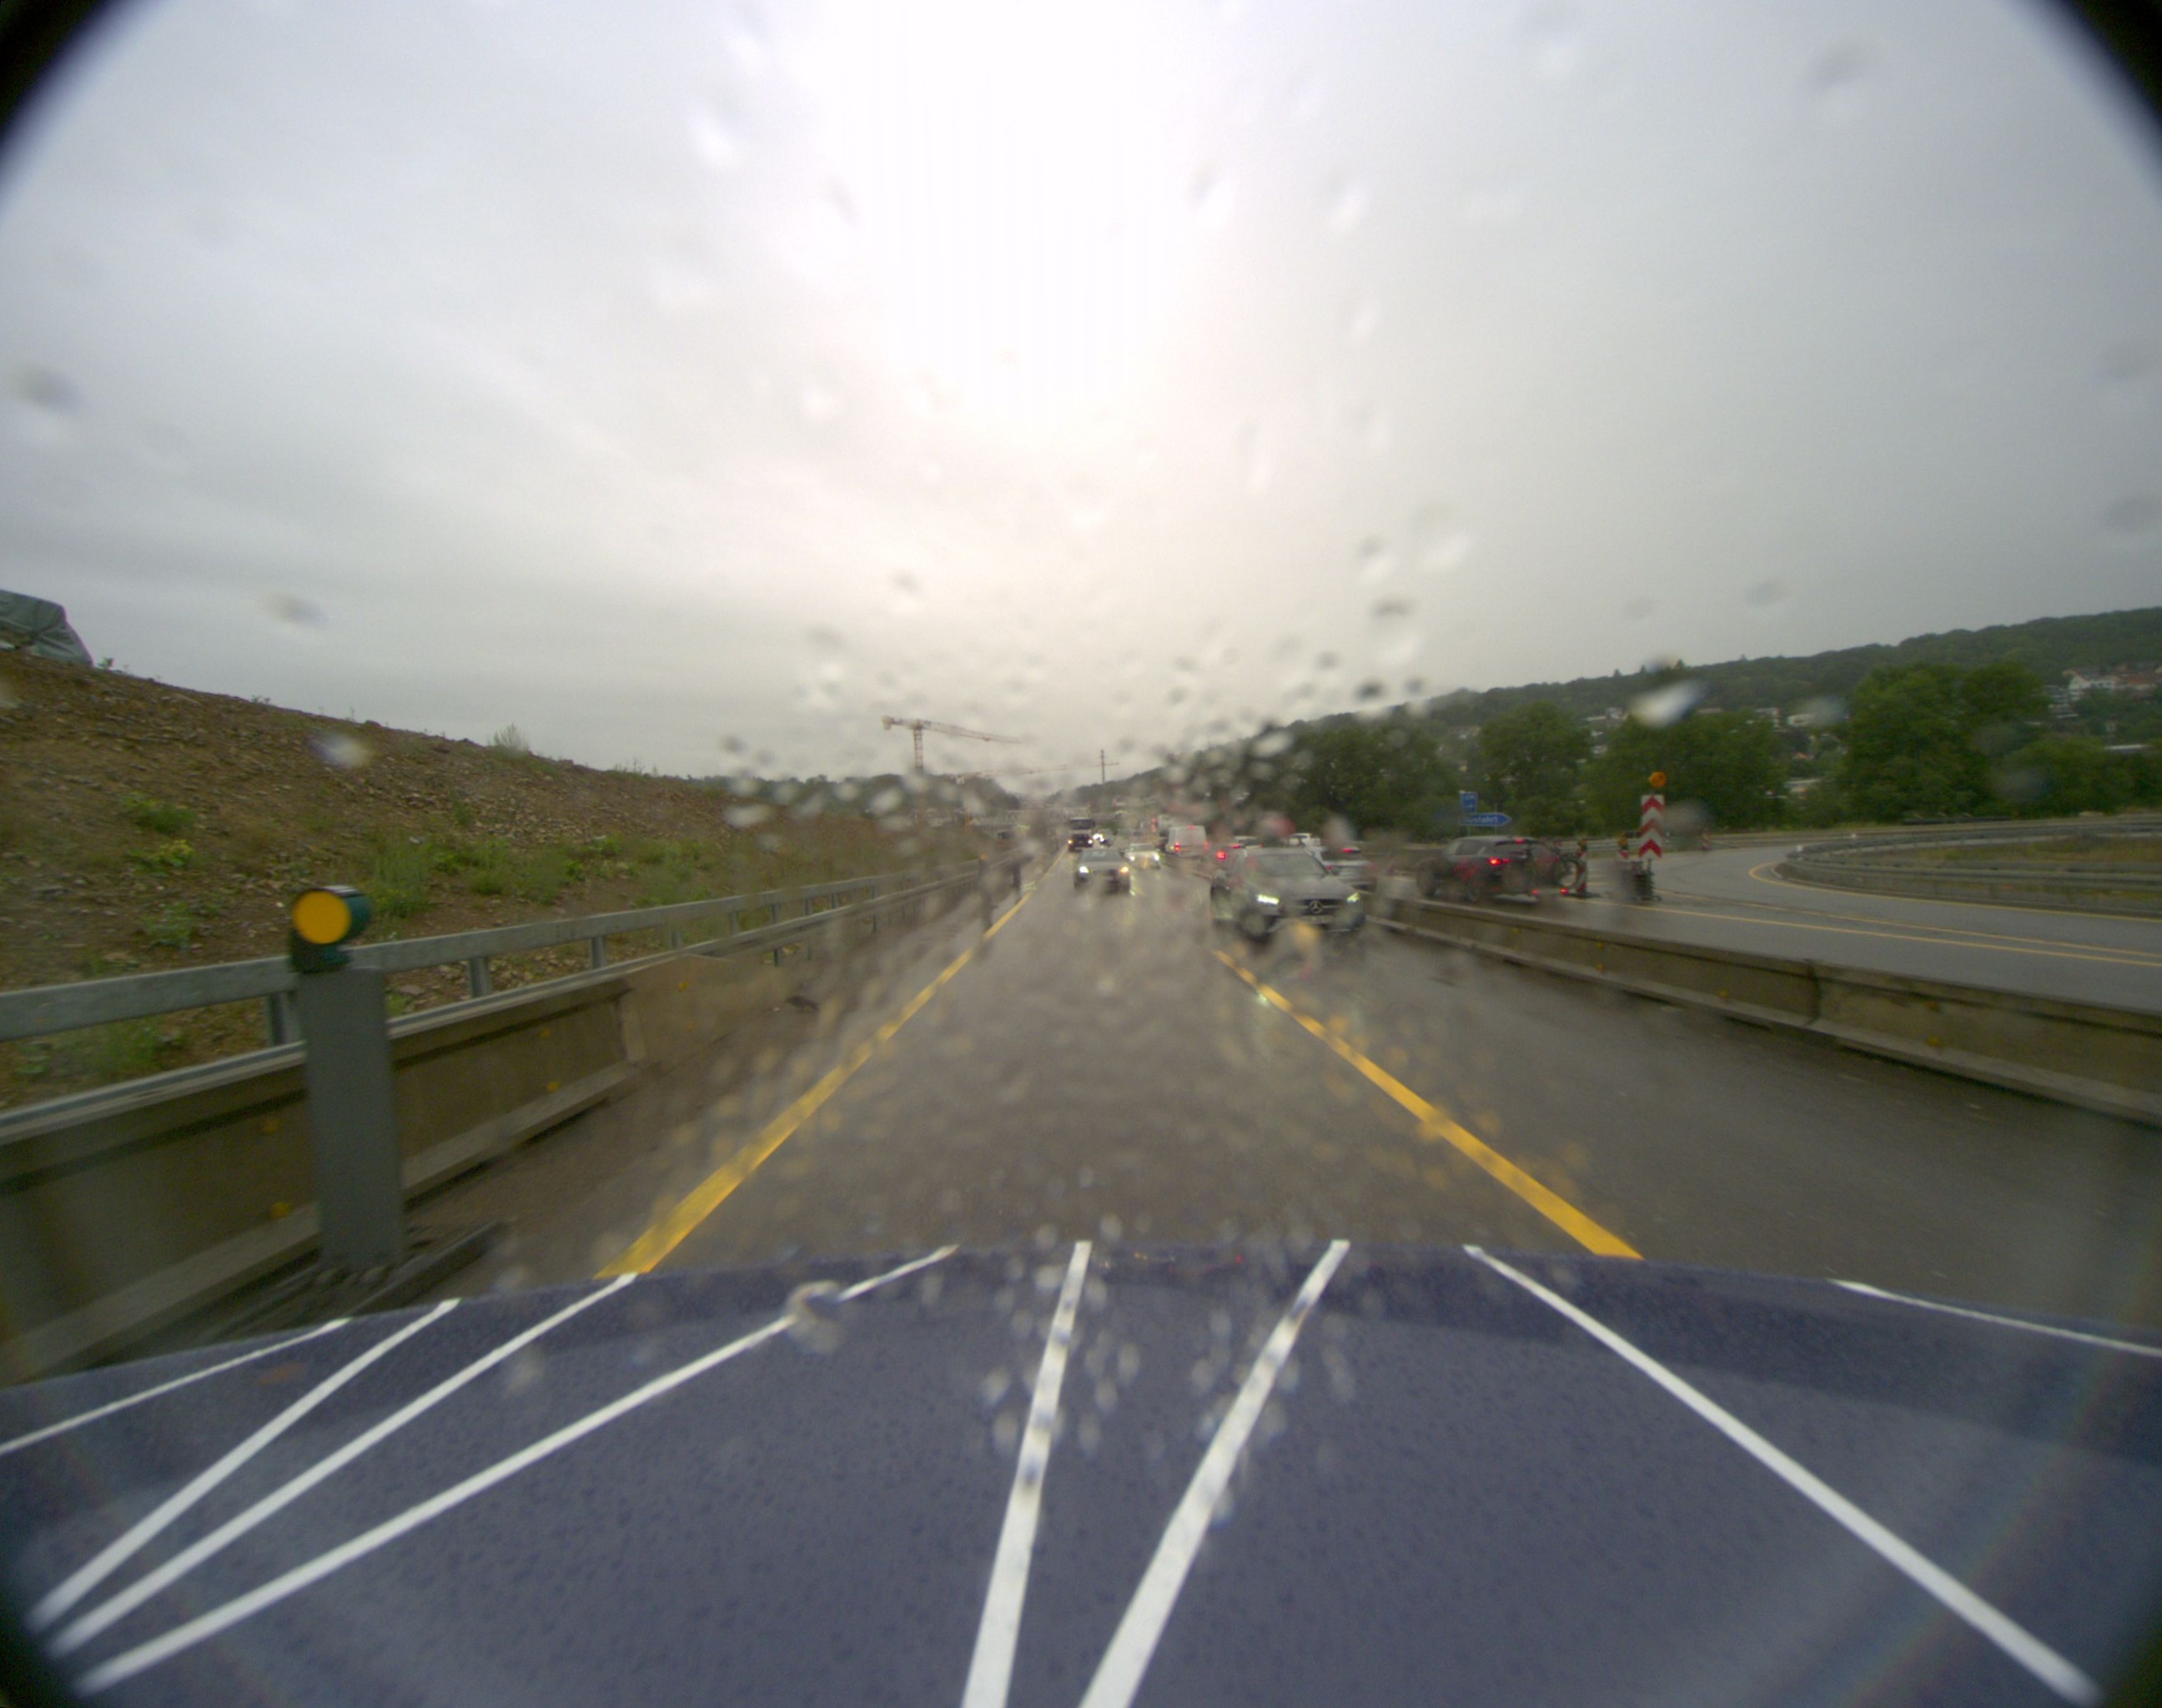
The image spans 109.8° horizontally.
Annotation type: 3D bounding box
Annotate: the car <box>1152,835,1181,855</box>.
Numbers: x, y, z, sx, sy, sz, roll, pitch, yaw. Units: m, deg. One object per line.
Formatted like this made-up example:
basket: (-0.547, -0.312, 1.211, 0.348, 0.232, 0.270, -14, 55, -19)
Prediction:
car: (7.065, -0.772, 63.166, 1.777, 1.496, 4.677, -1, 2, 0)

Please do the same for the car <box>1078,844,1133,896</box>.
car: (0.835, 0.501, 27.002, 1.781, 1.515, 4.139, -1, 3, 1)

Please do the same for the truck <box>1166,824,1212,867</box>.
truck: (6.935, -0.609, 49.556, 2.084, 2.562, 5.959, -2, 2, 0)

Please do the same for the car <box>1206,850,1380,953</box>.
car: (3.573, 0.711, 13.748, 1.951, 1.430, 4.482, -2, 1, 1)

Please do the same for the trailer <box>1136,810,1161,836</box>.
trailer: (11.042, -5.075, 124.864, 2.756, 4.020, 15.351, -2, 2, 0)

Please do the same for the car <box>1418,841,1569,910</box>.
car: (10.205, 0.456, 19.150, 1.730, 1.515, 3.875, -1, 1, 0)

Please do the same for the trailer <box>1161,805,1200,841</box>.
trailer: (10.888, -3.416, 84.188, 2.627, 3.657, 11.998, -2, 2, 0)

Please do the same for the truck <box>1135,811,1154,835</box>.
truck: (11.115, -5.388, 132.470, 2.756, 4.040, 6.145, -2, 3, 0)

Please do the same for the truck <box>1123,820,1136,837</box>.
truck: (11.209, -6.032, 177.470, 2.693, 3.905, 5.271, 0, 3, 0)

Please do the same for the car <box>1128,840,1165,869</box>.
car: (3.750, -0.018, 44.115, 1.781, 1.430, 4.482, -1, 2, 1)

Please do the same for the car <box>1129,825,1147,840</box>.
car: (6.902, -2.670, 92.629, 1.870, 1.790, 4.161, -2, 2, 0)

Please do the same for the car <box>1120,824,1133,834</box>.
car: (7.977, -4.337, 132.672, 1.998, 1.749, 4.686, -2, 2, 0)

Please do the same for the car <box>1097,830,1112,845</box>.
car: (3.367, -2.427, 110.830, 1.999, 2.003, 3.998, -2, 3, 0)

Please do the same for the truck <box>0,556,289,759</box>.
truck: (-19.326, -3.385, 12.226, 3.403, 2.859, 8.957, -1, 2, 2)

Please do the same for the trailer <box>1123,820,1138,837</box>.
trailer: (11.187, -5.834, 172.915, 2.693, 3.942, 9.814, 0, 2, 0)

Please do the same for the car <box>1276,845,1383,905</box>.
car: (7.085, 0.528, 22.128, 1.681, 1.515, 4.344, -1, 1, 0)

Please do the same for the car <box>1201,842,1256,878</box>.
car: (7.013, 0.251, 36.548, 1.791, 1.530, 4.310, -1, 2, 0)

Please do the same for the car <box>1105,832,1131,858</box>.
car: (3.077, -0.745, 62.101, 1.998, 2.002, 4.000, -1, 2, 4)

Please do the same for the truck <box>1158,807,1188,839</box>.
truck: (10.848, -3.672, 90.188, 2.627, 3.657, 6.592, -2, 2, 0)

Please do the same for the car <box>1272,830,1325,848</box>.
car: (21.790, -1.523, 76.303, 1.853, 1.691, 5.031, -3, 3, -35)

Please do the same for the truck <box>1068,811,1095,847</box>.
truck: (0.138, -2.630, 78.818, 2.575, 3.452, 6.624, -1, 3, 1)

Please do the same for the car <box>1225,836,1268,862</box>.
car: (10.421, -0.352, 48.002, 1.792, 1.538, 3.999, -2, 1, 0)

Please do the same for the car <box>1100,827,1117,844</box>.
car: (3.492, -2.311, 97.298, 1.998, 2.002, 4.187, -2, 0, 0)

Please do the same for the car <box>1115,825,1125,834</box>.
car: (8.101, -5.151, 157.002, 1.792, 1.796, 5.187, 0, 3, 0)
